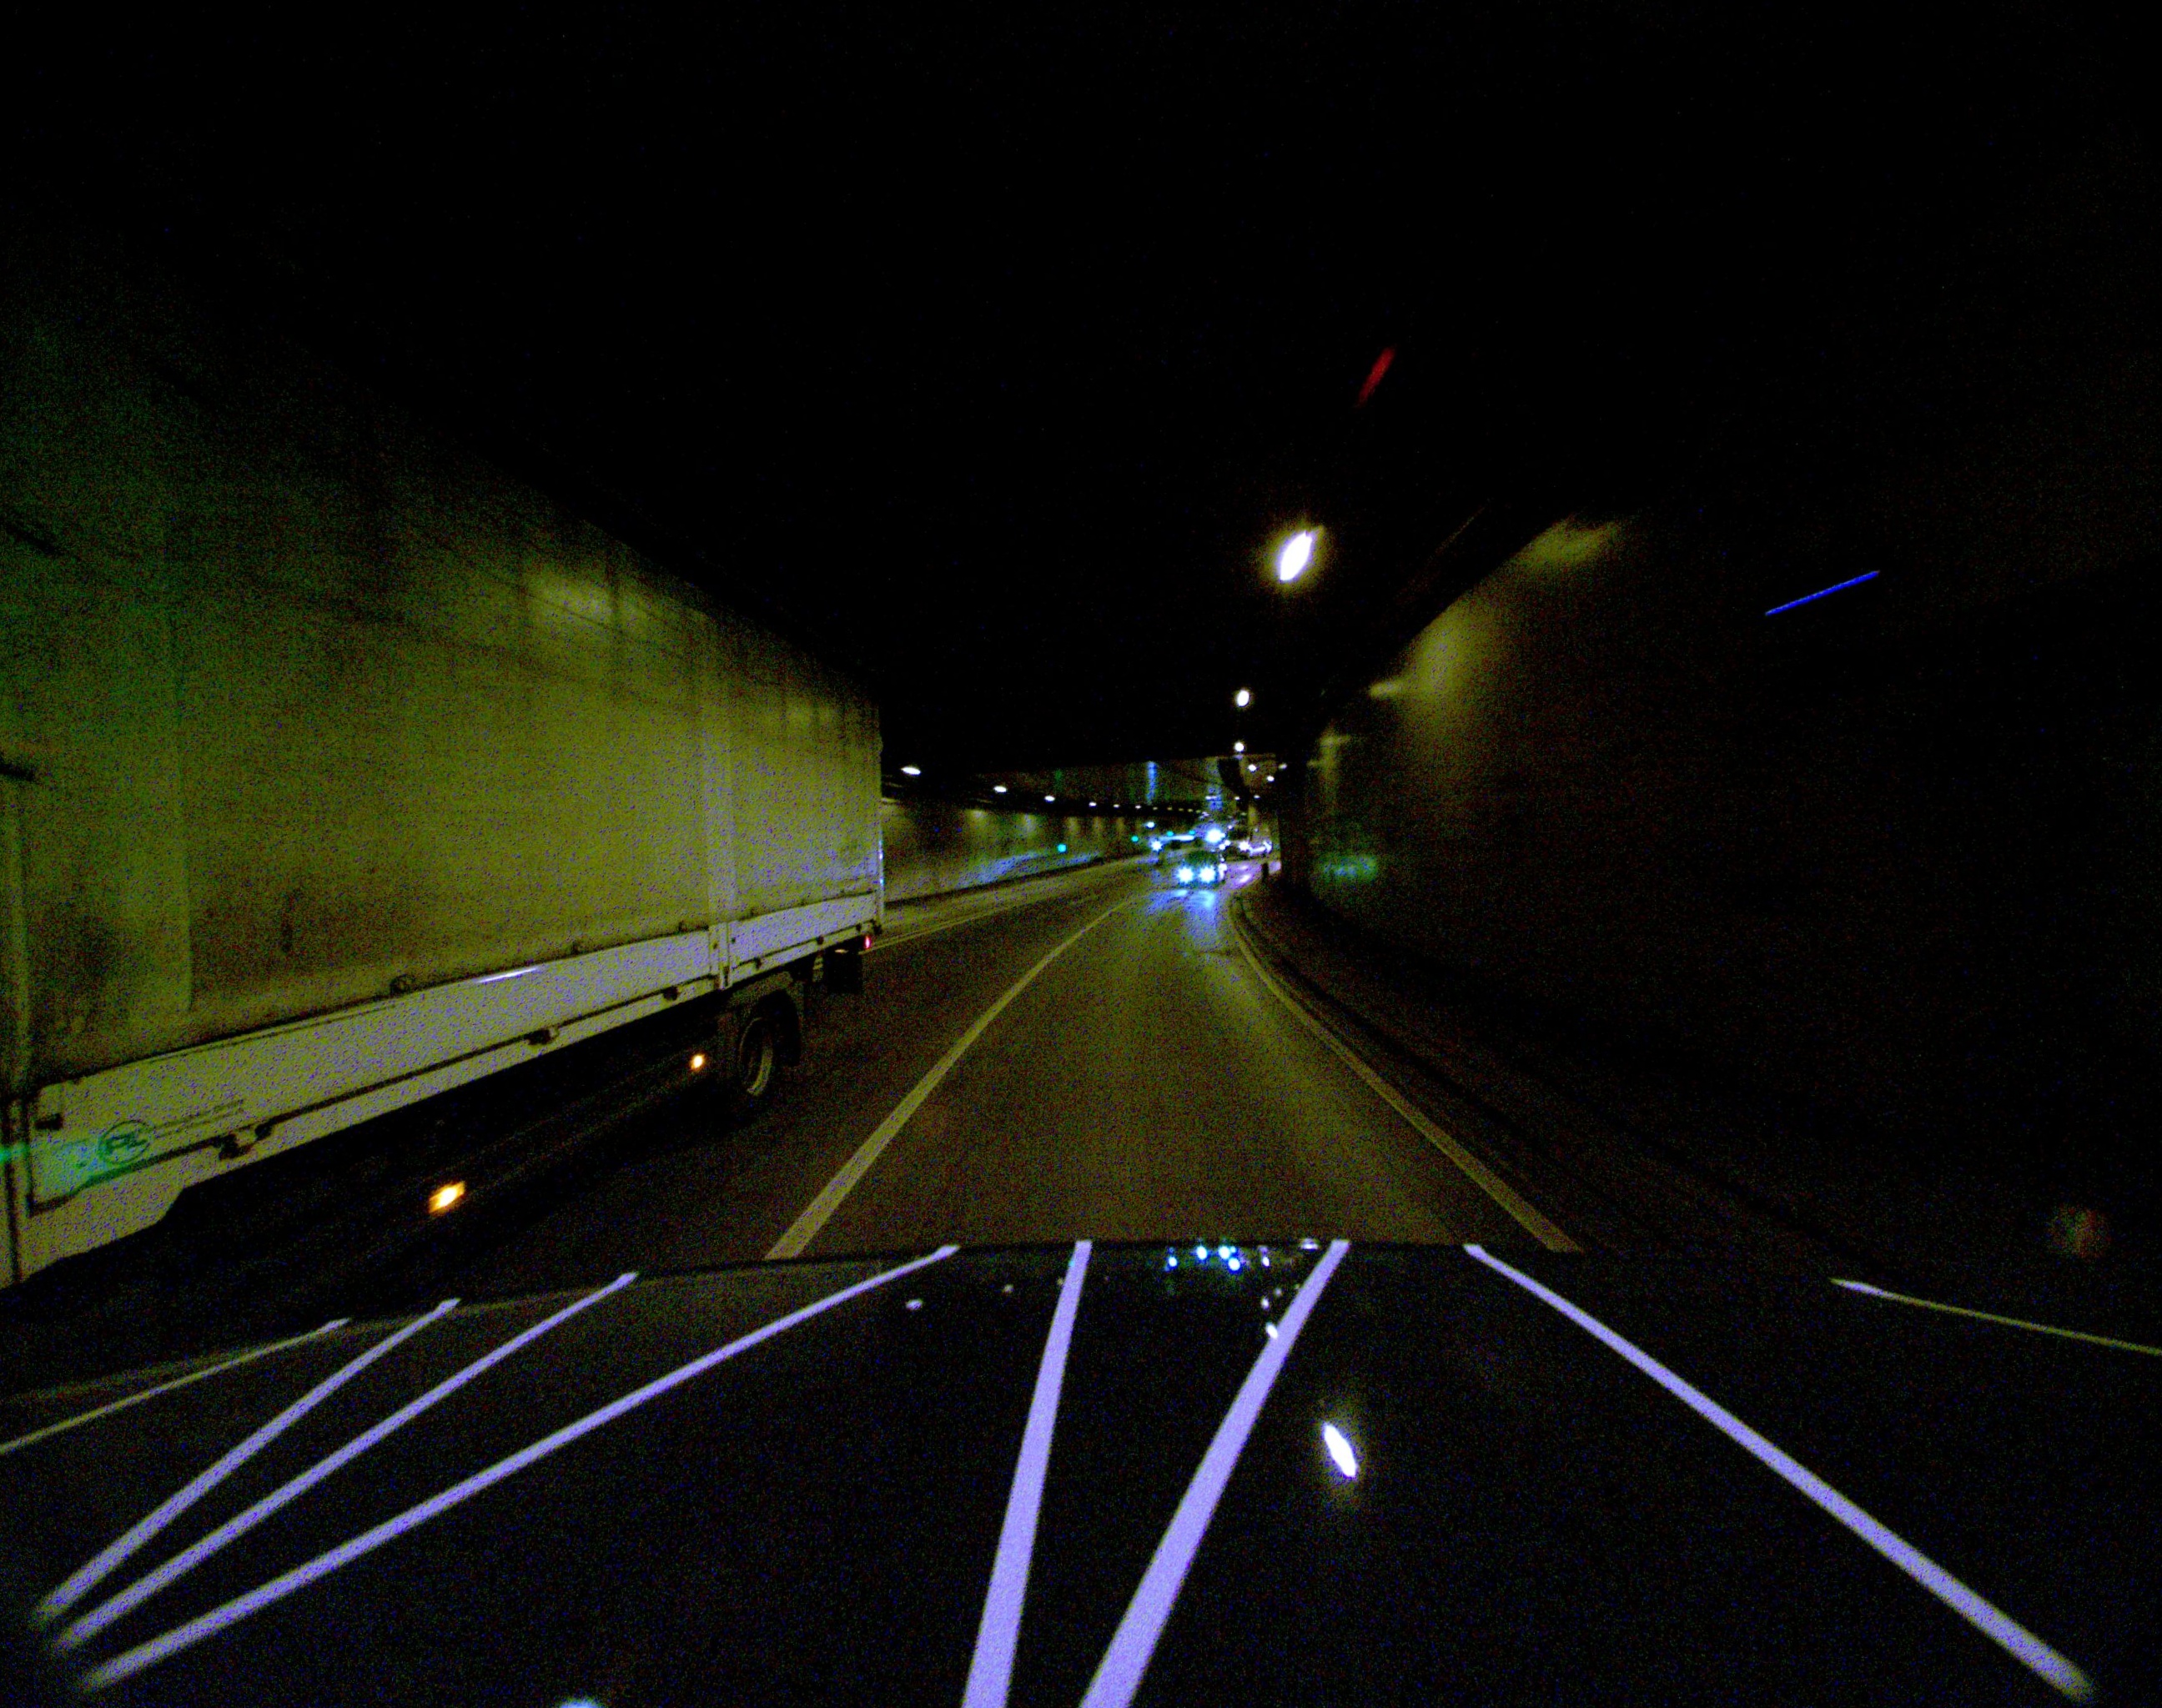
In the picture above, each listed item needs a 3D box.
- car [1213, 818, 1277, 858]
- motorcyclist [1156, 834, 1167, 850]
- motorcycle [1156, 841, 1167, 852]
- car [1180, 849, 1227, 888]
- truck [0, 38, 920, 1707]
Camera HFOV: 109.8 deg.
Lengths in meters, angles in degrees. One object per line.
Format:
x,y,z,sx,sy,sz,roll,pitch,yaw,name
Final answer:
12.481,-1.244,57.243,2.555,2.752,7.363,-2,1,29,car
7.471,-1.106,70.266,0.746,1.482,0.788,-4,2,19,motorcyclist
7.455,-0.681,70.193,0.549,0.970,1.837,-4,1,19,motorcycle
5.281,0.573,32.454,1.720,1.455,4.003,-3,1,12,car
-3.121,0.131,3.199,2.635,3.220,7.417,-3,1,4,truck
